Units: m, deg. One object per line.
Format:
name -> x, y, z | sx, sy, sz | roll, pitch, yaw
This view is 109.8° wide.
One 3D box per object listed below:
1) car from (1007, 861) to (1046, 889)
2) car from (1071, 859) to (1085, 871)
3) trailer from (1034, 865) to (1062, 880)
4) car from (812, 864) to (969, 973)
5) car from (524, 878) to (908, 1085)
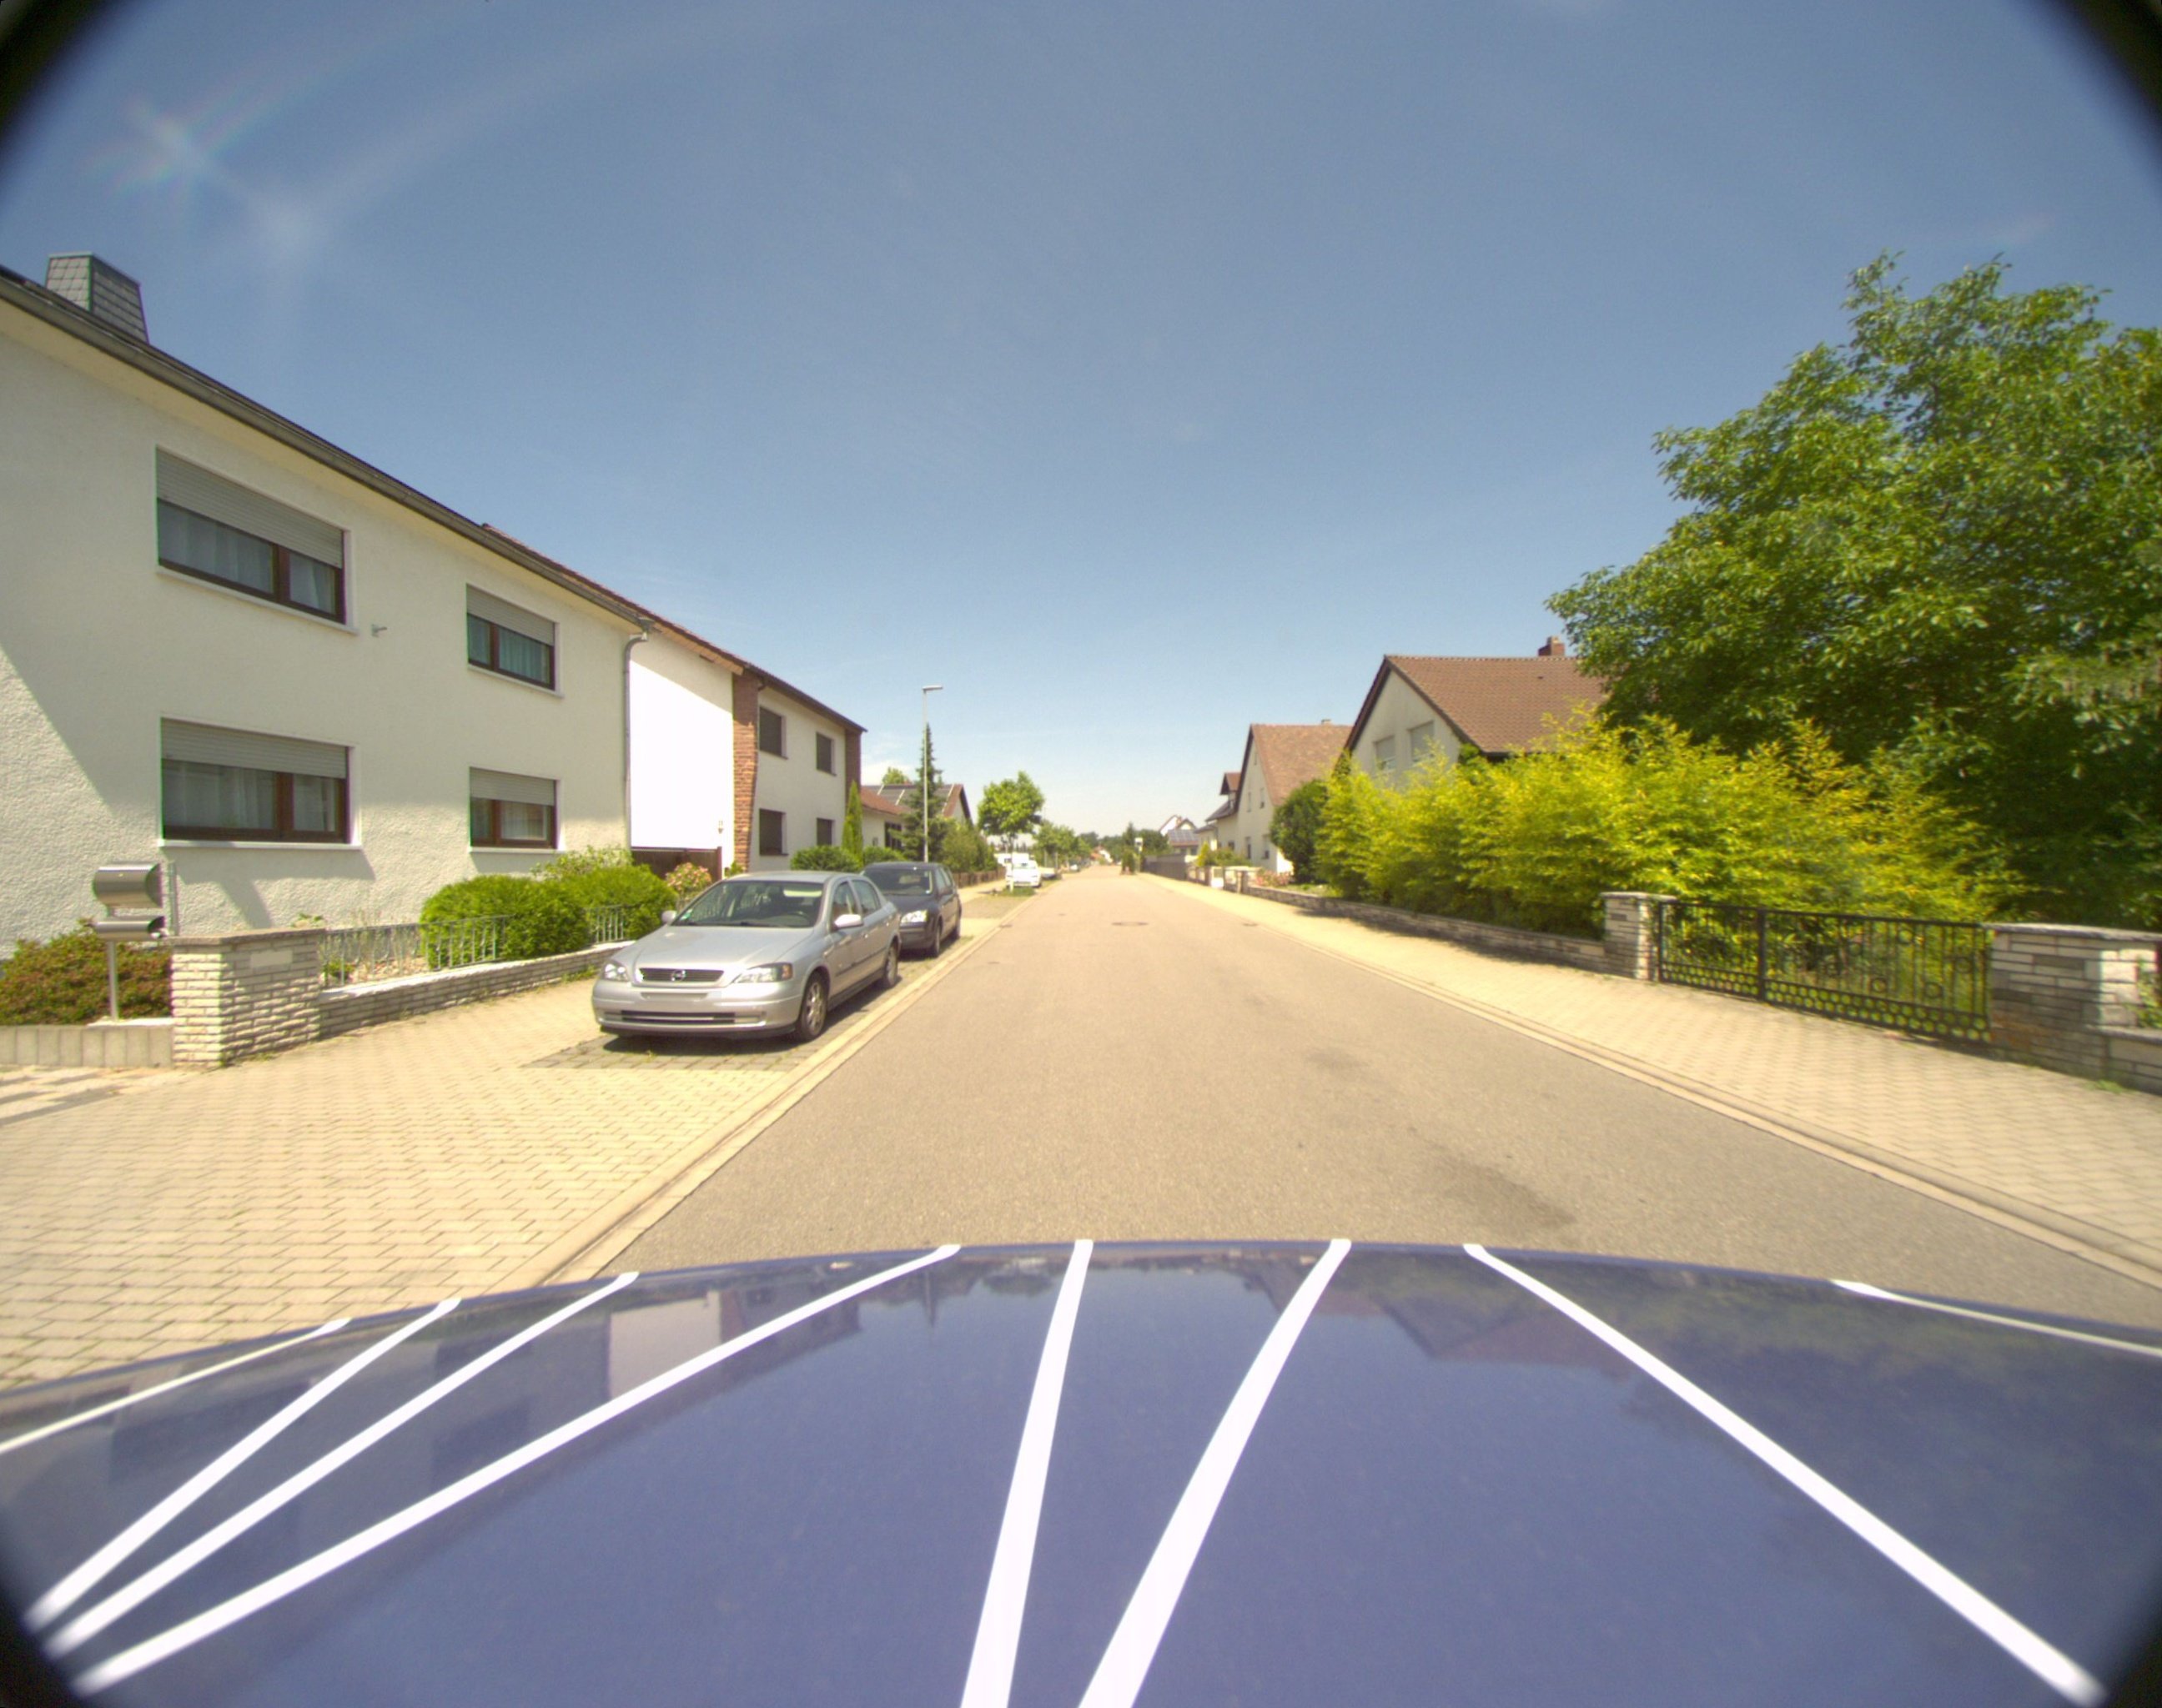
car -> -2.838, 1.061, 40.572 | 1.819, 1.411, 3.868 | 0, 0, 0
car -> -0.406, 1.518, 108.687 | 1.597, 1.630, 3.804 | -1, 0, 4
trailer -> -2.381, 1.320, 55.396 | 1.792, 1.052, 2.899 | 0, 0, 2
car -> -3.093, 0.965, 13.253 | 1.746, 1.524, 4.448 | 0, 0, -2
car -> -3.145, 0.998, 7.611 | 1.819, 1.411, 4.093 | 0, 0, 1
